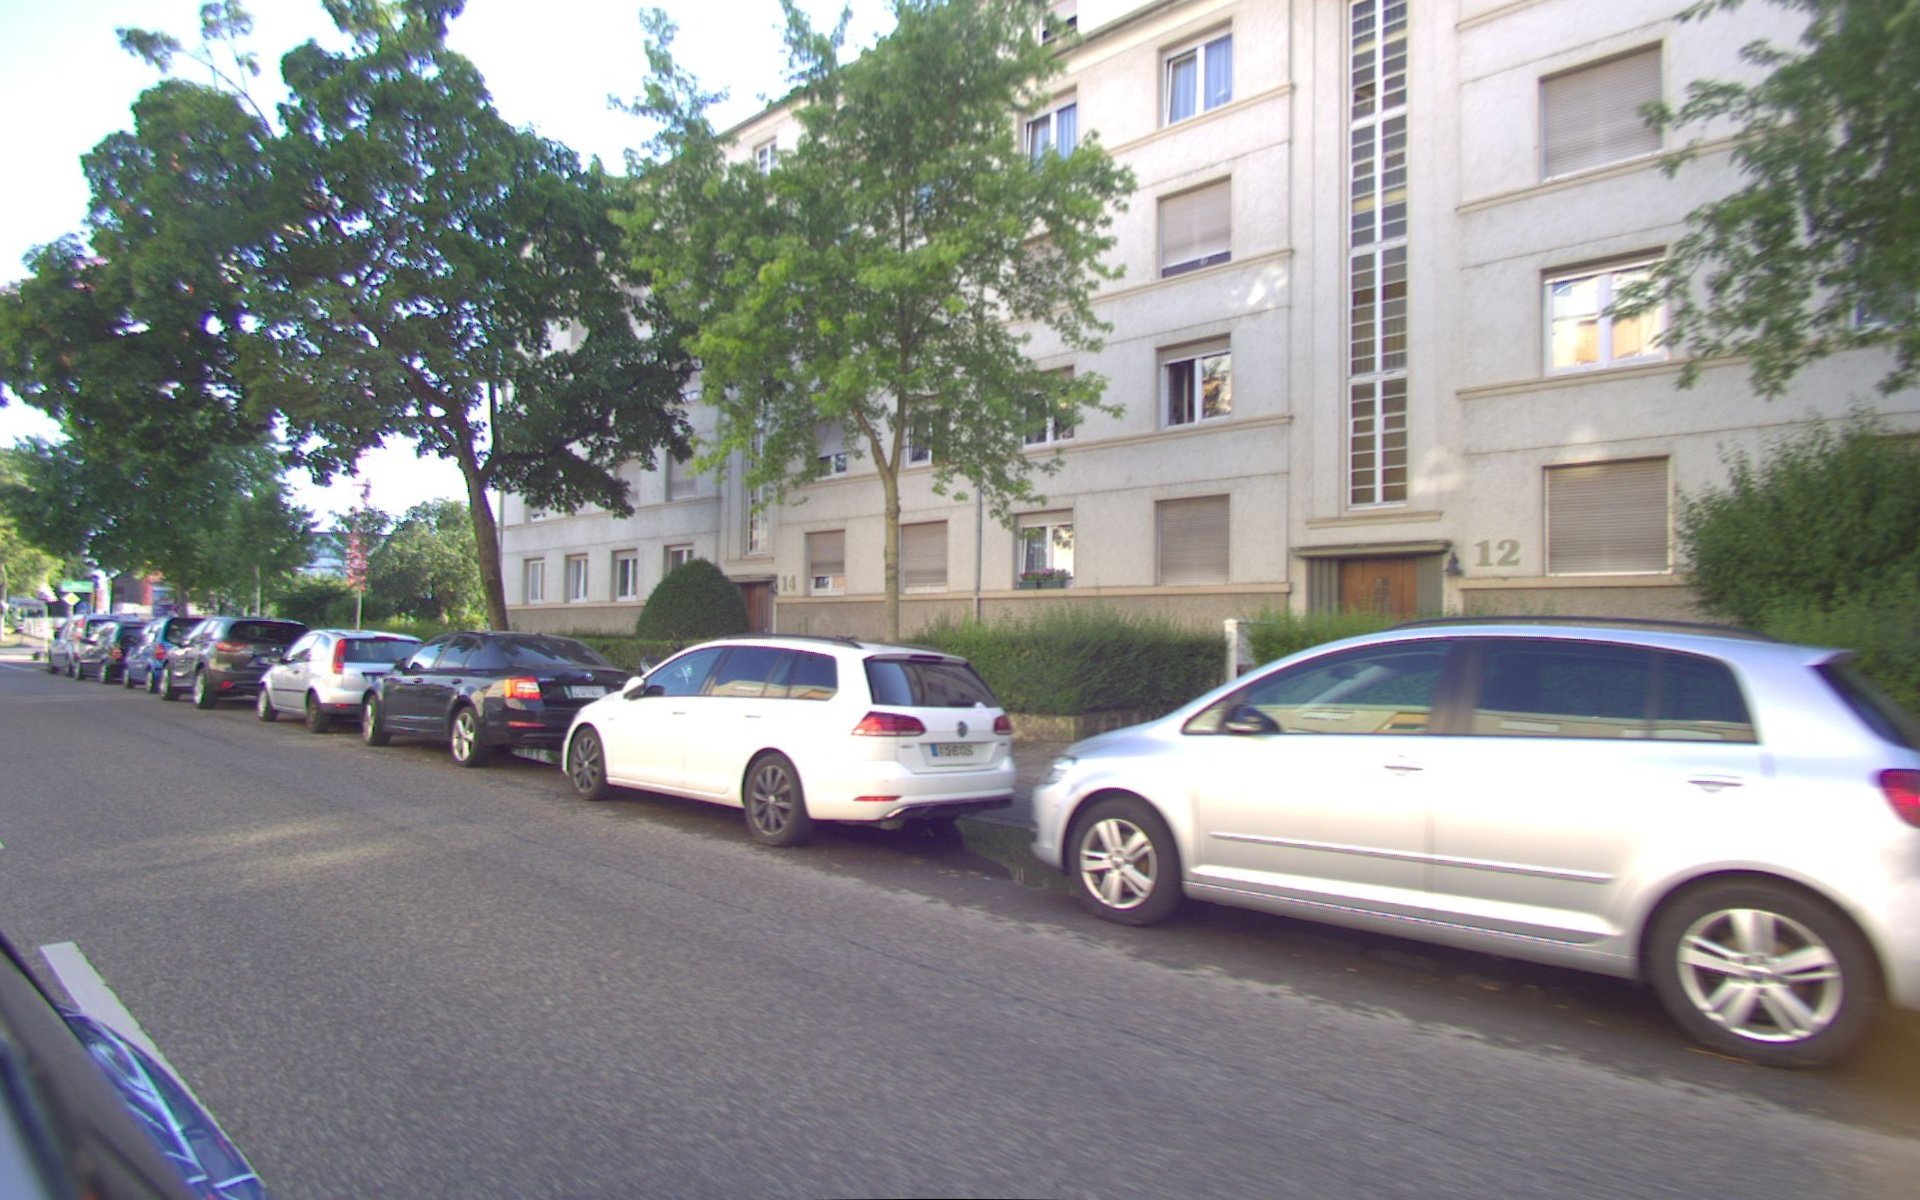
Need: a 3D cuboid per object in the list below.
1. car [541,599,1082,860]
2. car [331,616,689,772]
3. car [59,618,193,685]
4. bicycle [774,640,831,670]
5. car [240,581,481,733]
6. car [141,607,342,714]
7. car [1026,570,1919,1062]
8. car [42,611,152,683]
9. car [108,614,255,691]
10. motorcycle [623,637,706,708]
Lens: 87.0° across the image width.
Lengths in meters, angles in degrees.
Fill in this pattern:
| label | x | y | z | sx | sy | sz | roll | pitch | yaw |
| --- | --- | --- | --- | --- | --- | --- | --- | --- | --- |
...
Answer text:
| label | x | y | z | sx | sy | sz | roll | pitch | yaw |
| --- | --- | --- | --- | --- | --- | --- | --- | --- | --- |
| car | -1.417 | 0.845 | 8.328 | 4.471 | 1.564 | 1.982 | 0 | -4 | 43 |
| car | -5.431 | 0.985 | 11.913 | 4.799 | 1.445 | 1.854 | 0 | -4 | 40 |
| car | -21.597 | 1.313 | 26.170 | 3.996 | 1.564 | 1.854 | 0 | -5 | 40 |
| bicycle | -4.118 | 1.423 | 26.358 | 1.787 | 0.714 | 0.404 | 0 | 0 | 40 |
| car | -9.256 | 0.816 | 15.520 | 3.999 | 2.029 | 1.972 | 0 | -4 | 42 |
| car | -13.604 | 1.066 | 19.056 | 4.685 | 1.772 | 1.854 | 0 | -4 | 39 |
| car | 2.497 | 0.742 | 4.920 | 3.996 | 1.564 | 1.854 | 0 | -4 | 40 |
| car | -25.404 | 1.342 | 29.744 | 4.486 | 1.911 | 1.821 | 0 | -4 | 43 |
| car | -17.890 | 1.126 | 23.207 | 3.996 | 1.563 | 1.855 | 0 | 0 | 40 |
| motorcycle | -5.120 | 1.250 | 17.576 | 1.248 | 1.187 | 0.575 | 0 | 0 | 6 |
